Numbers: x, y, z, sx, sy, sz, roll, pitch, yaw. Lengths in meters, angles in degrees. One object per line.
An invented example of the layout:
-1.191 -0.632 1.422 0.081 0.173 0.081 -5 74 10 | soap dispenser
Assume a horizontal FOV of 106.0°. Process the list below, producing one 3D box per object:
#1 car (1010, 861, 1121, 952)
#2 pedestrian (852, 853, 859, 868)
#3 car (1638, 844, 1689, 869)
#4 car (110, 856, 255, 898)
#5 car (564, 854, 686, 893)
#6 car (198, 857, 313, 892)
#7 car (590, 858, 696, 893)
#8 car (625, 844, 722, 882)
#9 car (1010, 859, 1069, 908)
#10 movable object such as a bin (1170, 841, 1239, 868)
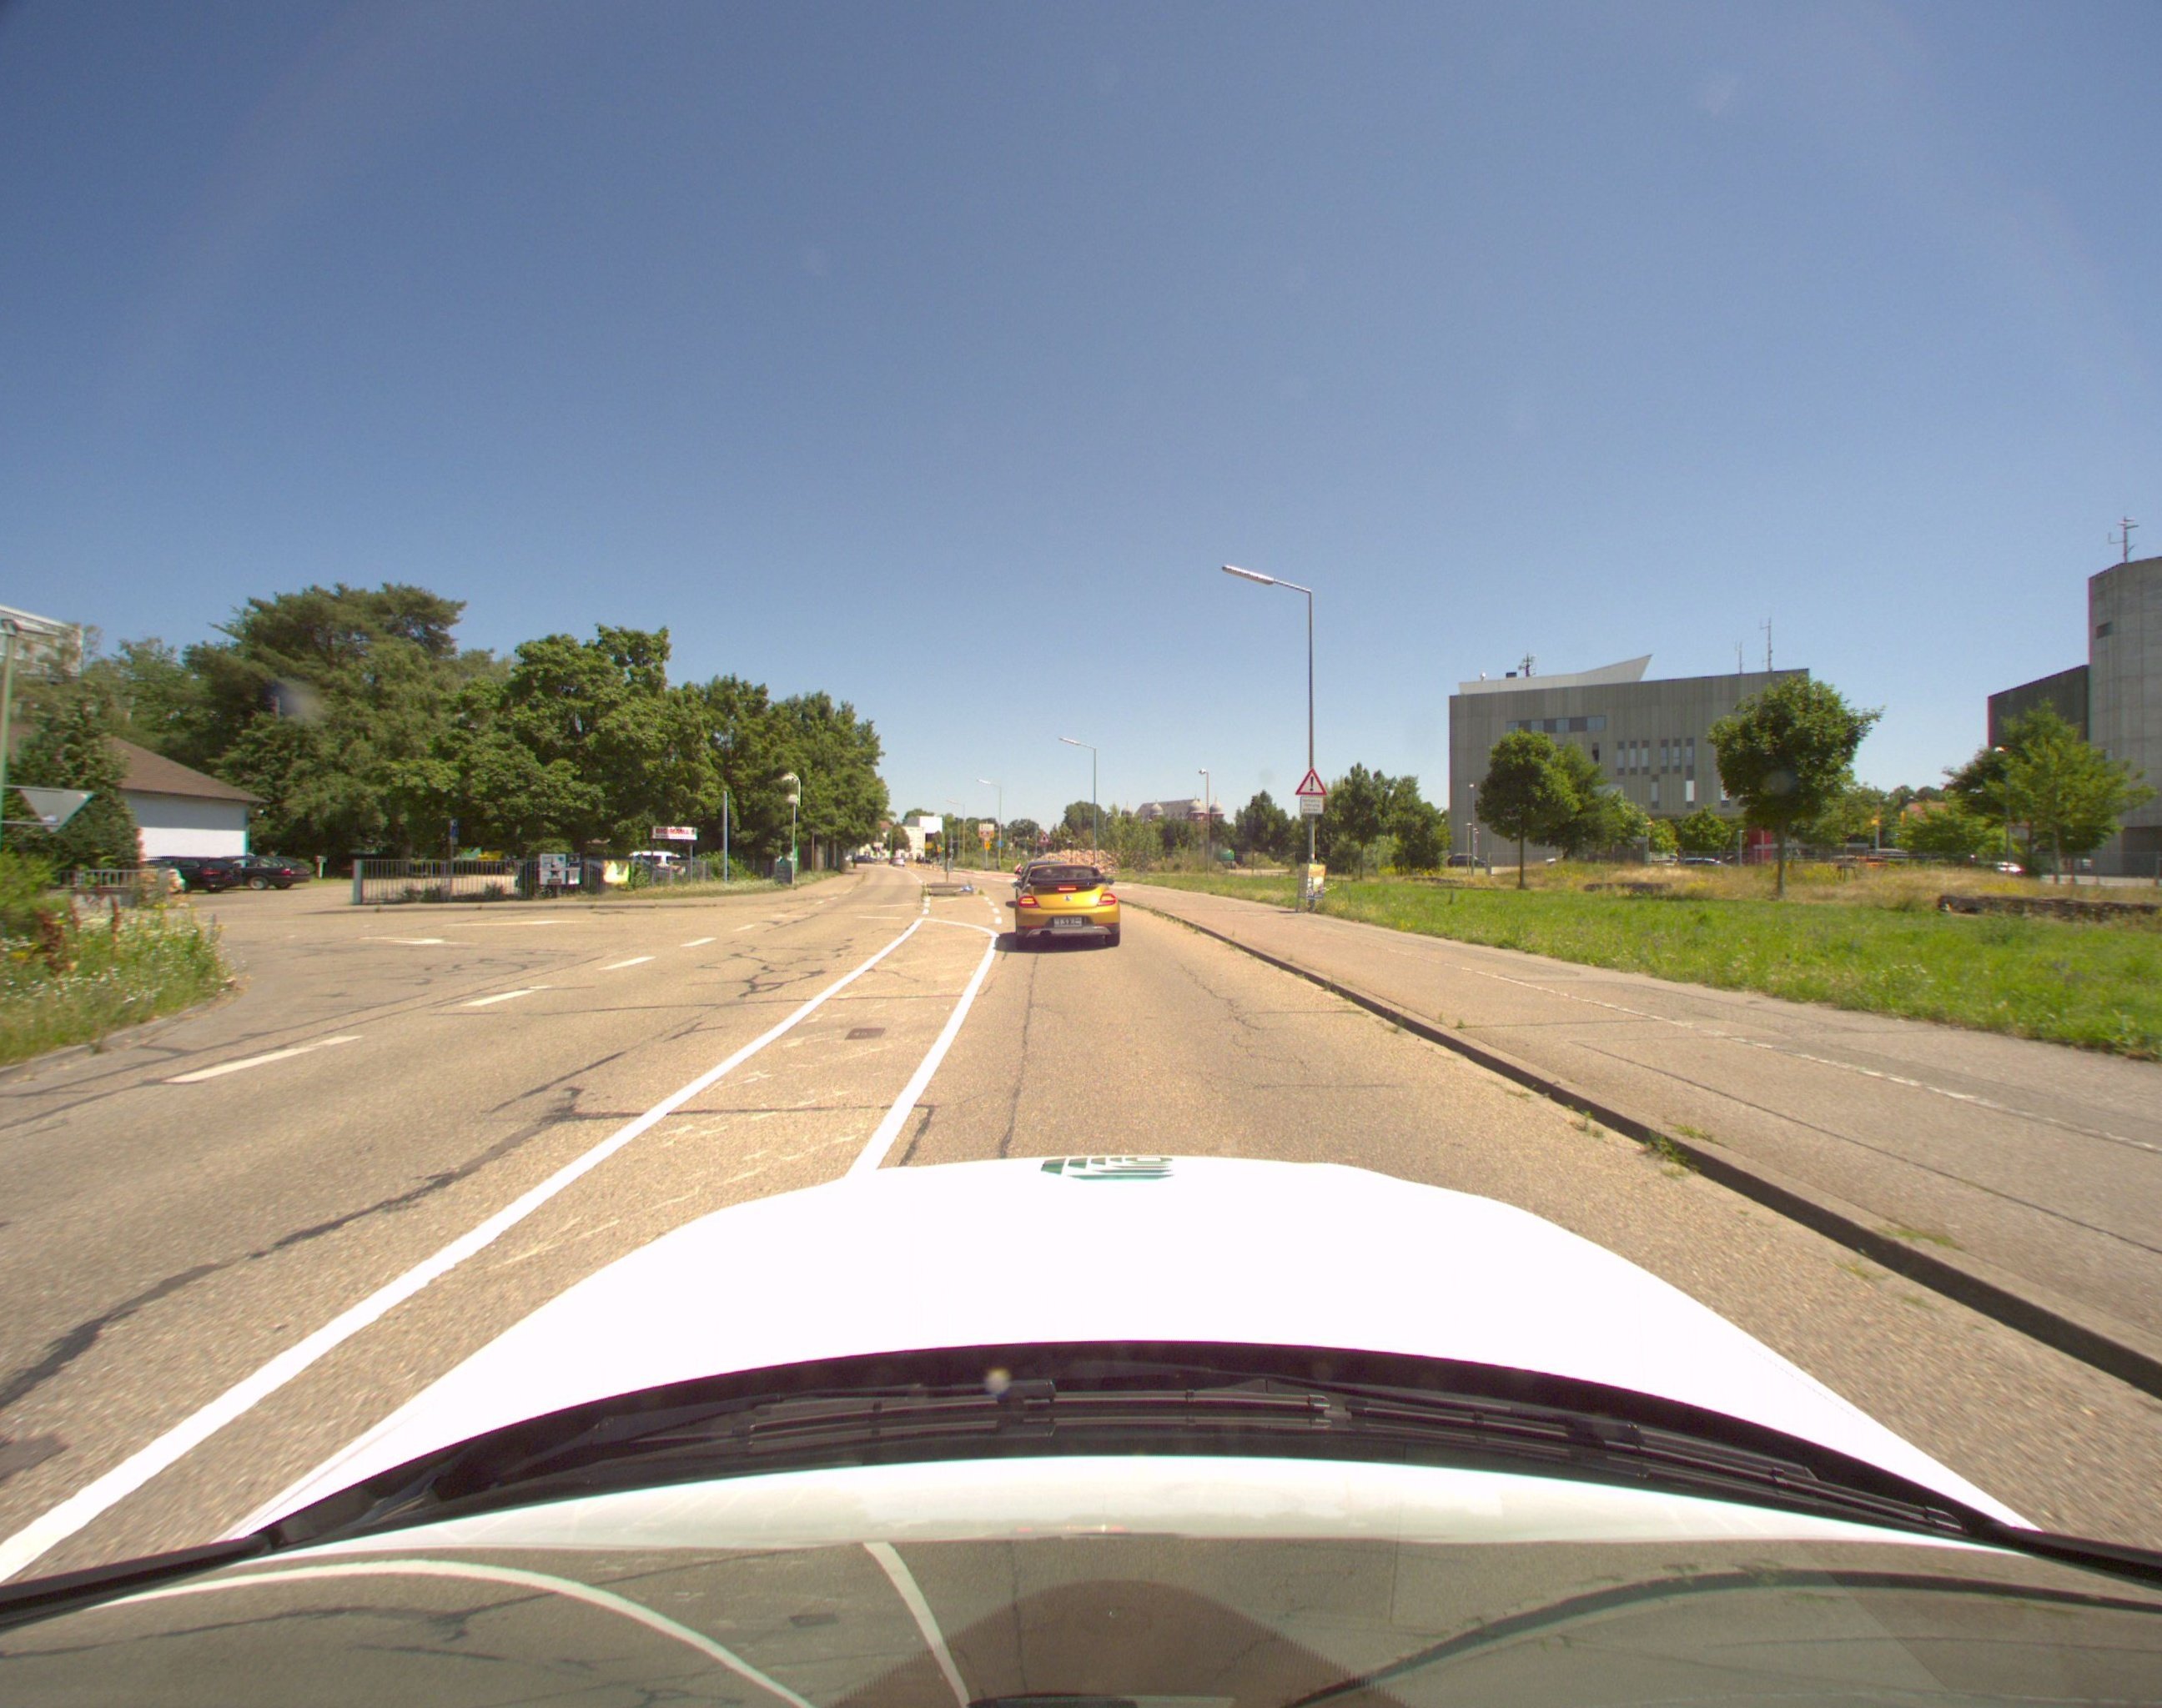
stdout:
-0.202 0.864 14.994 1.783 1.436 3.814 0 0 1 | car
-26.065 0.729 94.030 0.725 1.725 0.813 0 -1 -19 | pedestrian
55.640 0.248 77.861 3.806 2.294 1.753 0 -1 27 | car
-34.878 0.881 31.710 3.337 1.565 1.765 0 0 -13 | car
-22.340 0.938 40.085 4.818 1.840 1.995 0 -1 -7 | car
-35.706 0.856 35.315 3.135 1.447 1.538 0 0 -13 | car
-20.007 0.977 37.358 3.865 1.526 1.802 0 -1 -12 | car
-21.813 0.449 43.718 4.306 1.977 1.776 0 0 -11 | car
-1.304 0.873 25.774 1.723 1.443 3.995 0 -1 -3 | car
15.754 0.146 105.127 4.950 3.260 10.409 0 -1 -17 | movable object such as a bin
